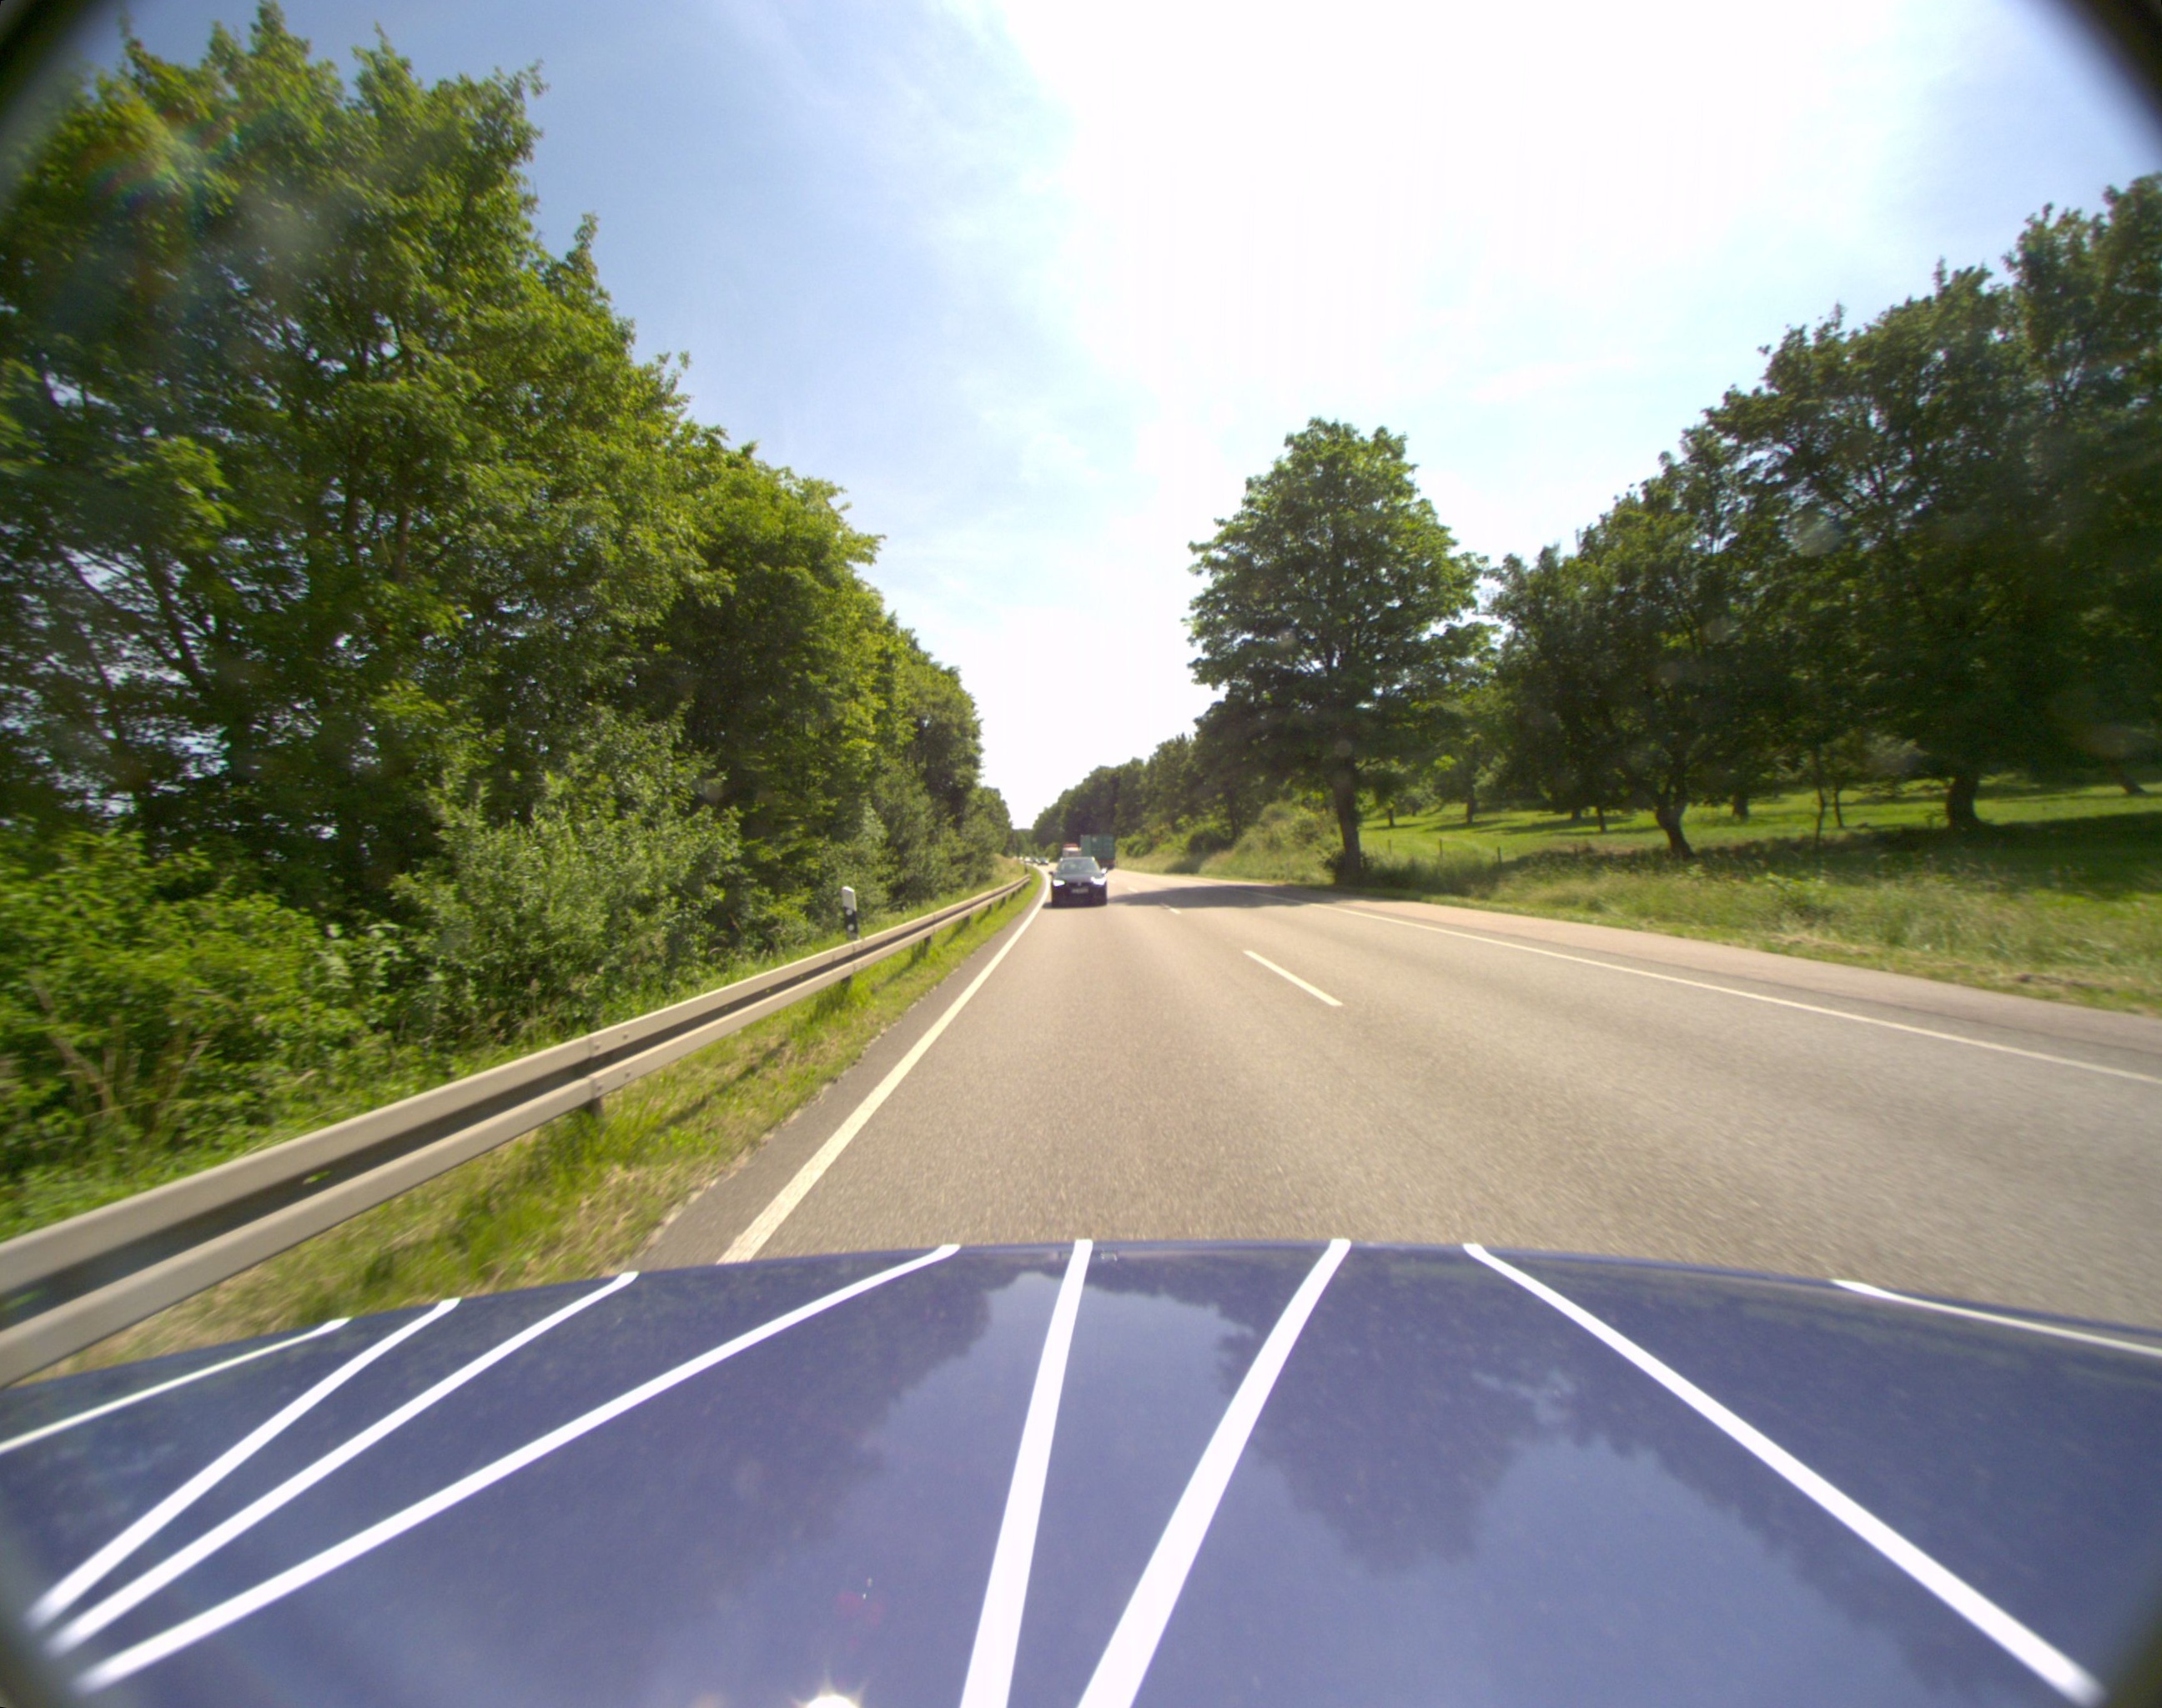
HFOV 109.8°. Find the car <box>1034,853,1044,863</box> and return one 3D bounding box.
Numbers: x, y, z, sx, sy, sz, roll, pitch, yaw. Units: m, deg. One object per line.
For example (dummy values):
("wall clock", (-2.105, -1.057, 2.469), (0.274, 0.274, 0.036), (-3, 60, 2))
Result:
("car", (-9.342, 0.827, 168.814), (1.999, 2.002, 3.997), (-3, 1, -6))

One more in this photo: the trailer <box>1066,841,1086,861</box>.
("trailer", (-0.786, -0.471, 115.651), (2.651, 2.856, 7.074), (-2, 1, -4))

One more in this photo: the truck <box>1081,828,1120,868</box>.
("truck", (1.928, -0.542, 85.066), (2.568, 3.916, 16.154), (-3, 0, -4))

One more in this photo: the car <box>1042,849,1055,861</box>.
("car", (-5.741, 0.124, 133.642), (1.999, 2.002, 3.998), (-3, 1, -3))

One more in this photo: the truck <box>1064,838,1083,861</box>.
("truck", (-1.243, -0.676, 122.446), (2.538, 3.539, 7.758), (-2, 1, -3))

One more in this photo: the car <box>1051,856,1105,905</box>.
("car", (-0.160, 0.872, 26.371), (1.662, 1.531, 3.486), (-2, 0, -3))
